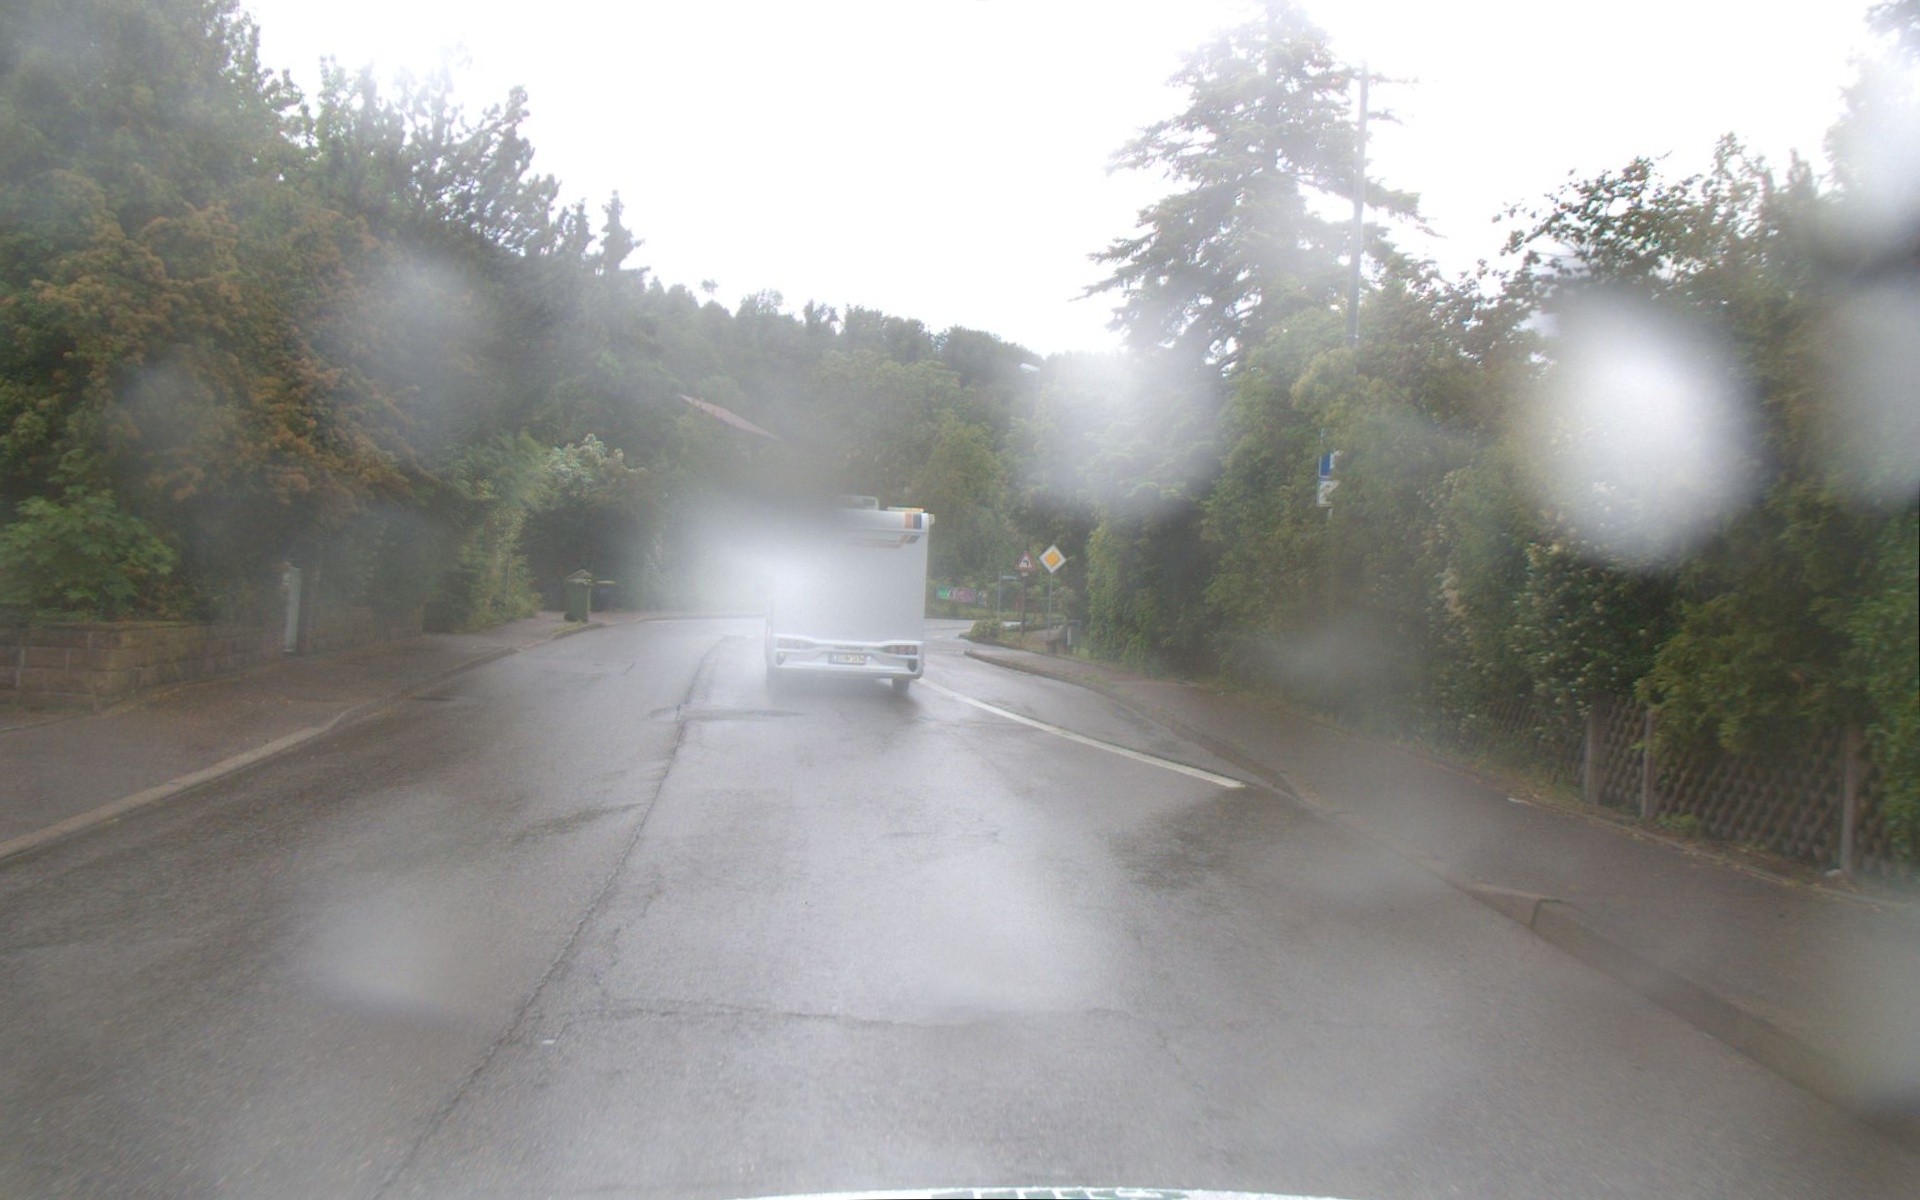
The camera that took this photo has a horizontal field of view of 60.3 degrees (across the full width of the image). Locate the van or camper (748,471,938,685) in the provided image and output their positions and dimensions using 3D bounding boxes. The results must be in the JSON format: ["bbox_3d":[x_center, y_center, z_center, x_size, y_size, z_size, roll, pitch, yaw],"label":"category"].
[{"bbox_3d":[-1.891,-0.244,26.260,2.565,2.903,6.024,2,-1,-5],"label":"van or camper"}]

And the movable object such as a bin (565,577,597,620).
[{"bbox_3d":[-10.002,-0.047,43.711,0.727,1.113,0.756,2,0,-9],"label":"movable object such as a bin"}]

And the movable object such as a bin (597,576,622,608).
[{"bbox_3d":[-11.873,-0.264,56.039,0.741,1.040,0.742,2,0,-8],"label":"movable object such as a bin"}]

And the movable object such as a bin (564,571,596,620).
[{"bbox_3d":[-10.237,-0.123,44.578,0.727,1.275,0.756,2,0,-9],"label":"movable object such as a bin"}]
